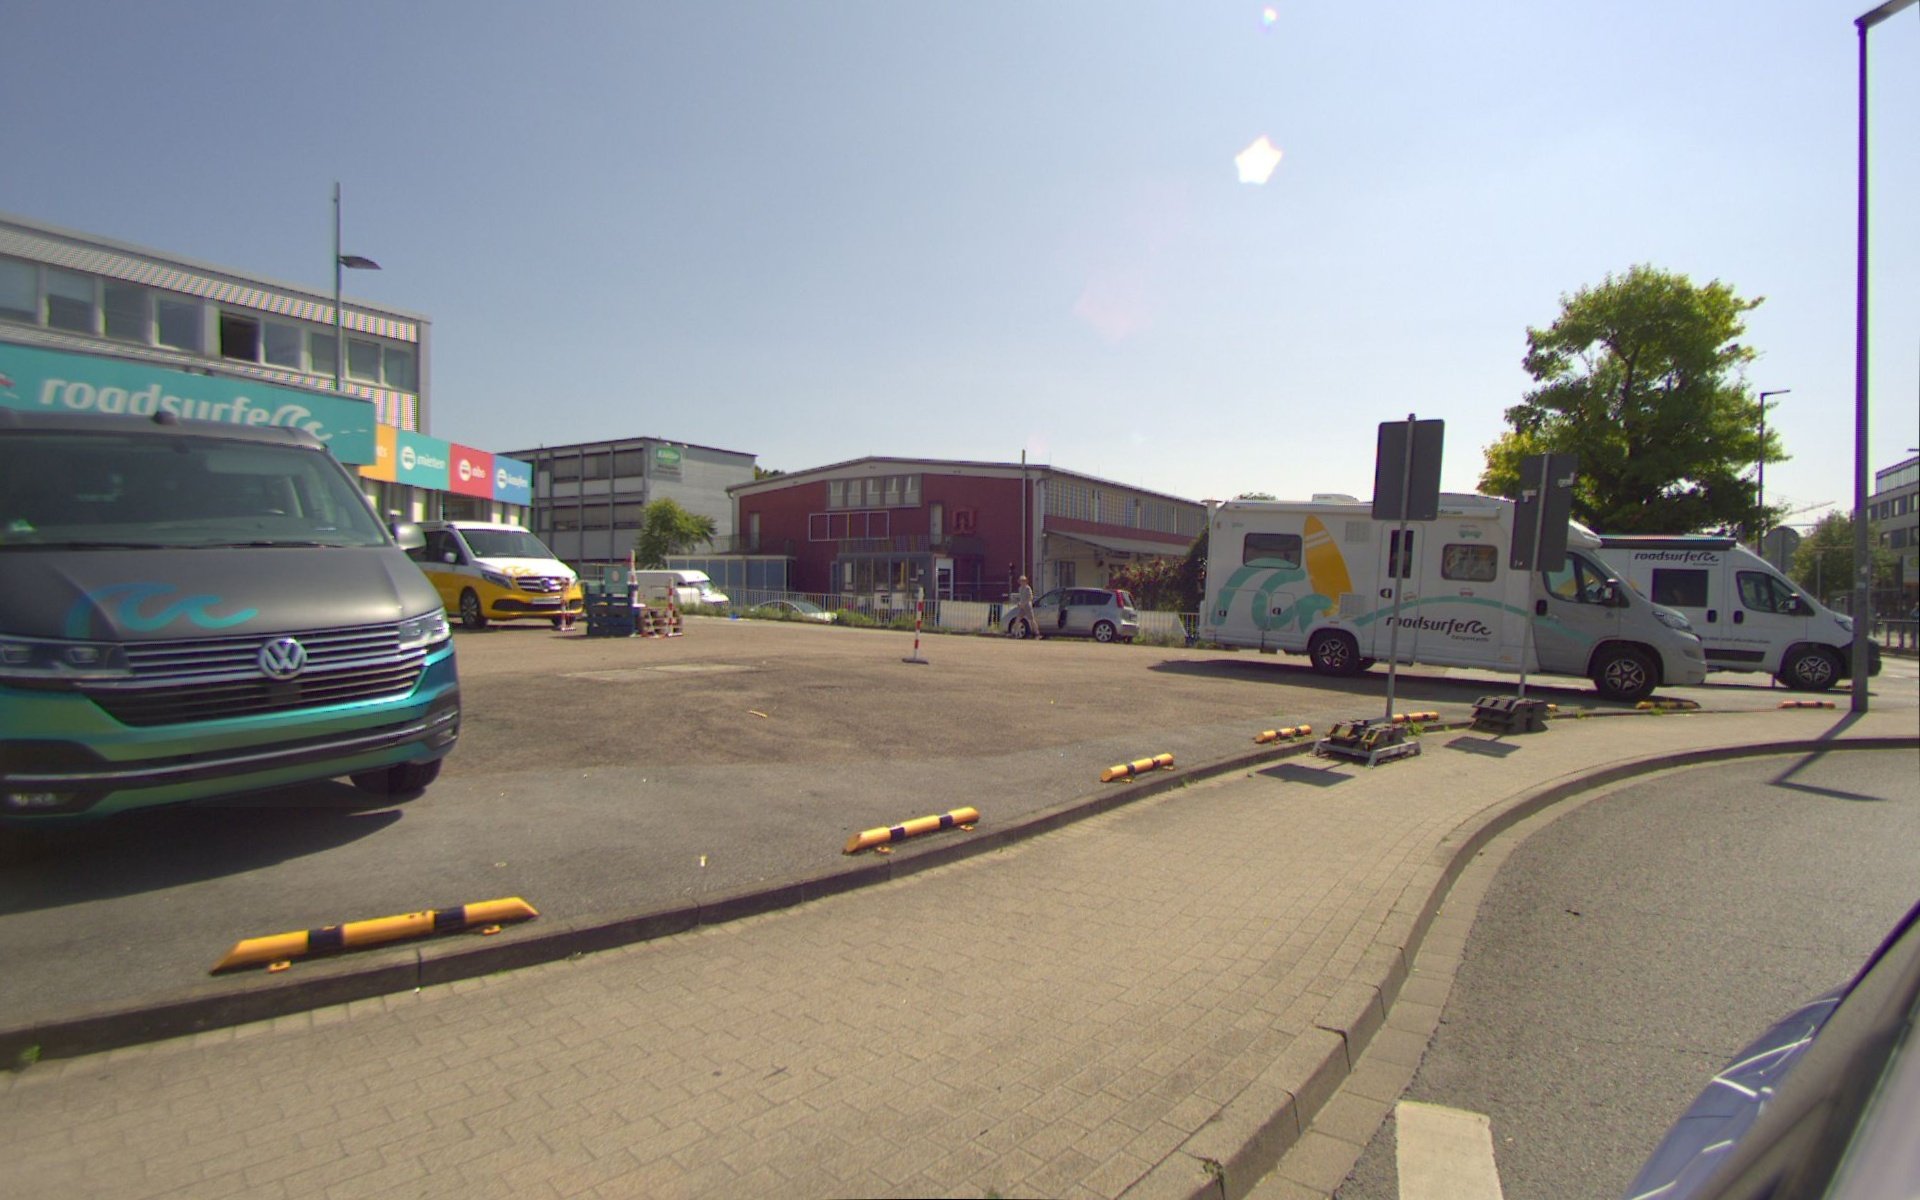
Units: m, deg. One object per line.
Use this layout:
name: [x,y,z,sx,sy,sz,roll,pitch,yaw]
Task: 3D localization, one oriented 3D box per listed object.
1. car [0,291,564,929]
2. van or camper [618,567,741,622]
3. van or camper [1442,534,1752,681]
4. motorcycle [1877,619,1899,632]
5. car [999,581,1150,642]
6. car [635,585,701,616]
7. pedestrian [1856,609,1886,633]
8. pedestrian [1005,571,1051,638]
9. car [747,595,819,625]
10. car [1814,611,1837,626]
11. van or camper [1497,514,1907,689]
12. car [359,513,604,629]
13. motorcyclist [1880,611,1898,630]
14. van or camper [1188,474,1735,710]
car: [-4.634,-0.141,5.802,5.202,2.139,2.069,4,4,38]
van or camper: [-14.624,-0.327,52.602,6.692,2.713,2.319,1,0,33]
van or camper: [13.638,0.165,21.968,5.490,2.851,2.021,0,-2,36]
motorcycle: [72.159,1.974,78.690,0.818,1.024,1.943,1,0,30]
car: [3.238,0.324,28.659,3.861,1.535,1.798,1,-2,29]
car: [-12.969,0.020,44.921,2.916,1.265,1.210,1,0,33]
pedestrian: [43.358,1.009,48.184,0.938,1.113,0.718,0,-1,32]
pedestrian: [1.786,0.111,26.502,0.775,1.692,0.931,2,0,43]
car: [-7.221,0.404,41.200,2.836,1.108,1.166,2,0,33]
car: [102.904,2.212,120.402,1.863,1.638,3.945,2,1,38]
van or camper: [13.347,-0.028,18.745,5.791,2.809,2.064,2,-1,35]
car: [-9.053,-0.550,18.964,5.074,1.900,2.070,2,1,38]
motorcyclist: [72.030,1.588,78.459,0.831,1.494,0.953,1,0,30]
van or camper: [7.339,-0.273,15.637,7.032,2.982,2.308,3,2,32]
